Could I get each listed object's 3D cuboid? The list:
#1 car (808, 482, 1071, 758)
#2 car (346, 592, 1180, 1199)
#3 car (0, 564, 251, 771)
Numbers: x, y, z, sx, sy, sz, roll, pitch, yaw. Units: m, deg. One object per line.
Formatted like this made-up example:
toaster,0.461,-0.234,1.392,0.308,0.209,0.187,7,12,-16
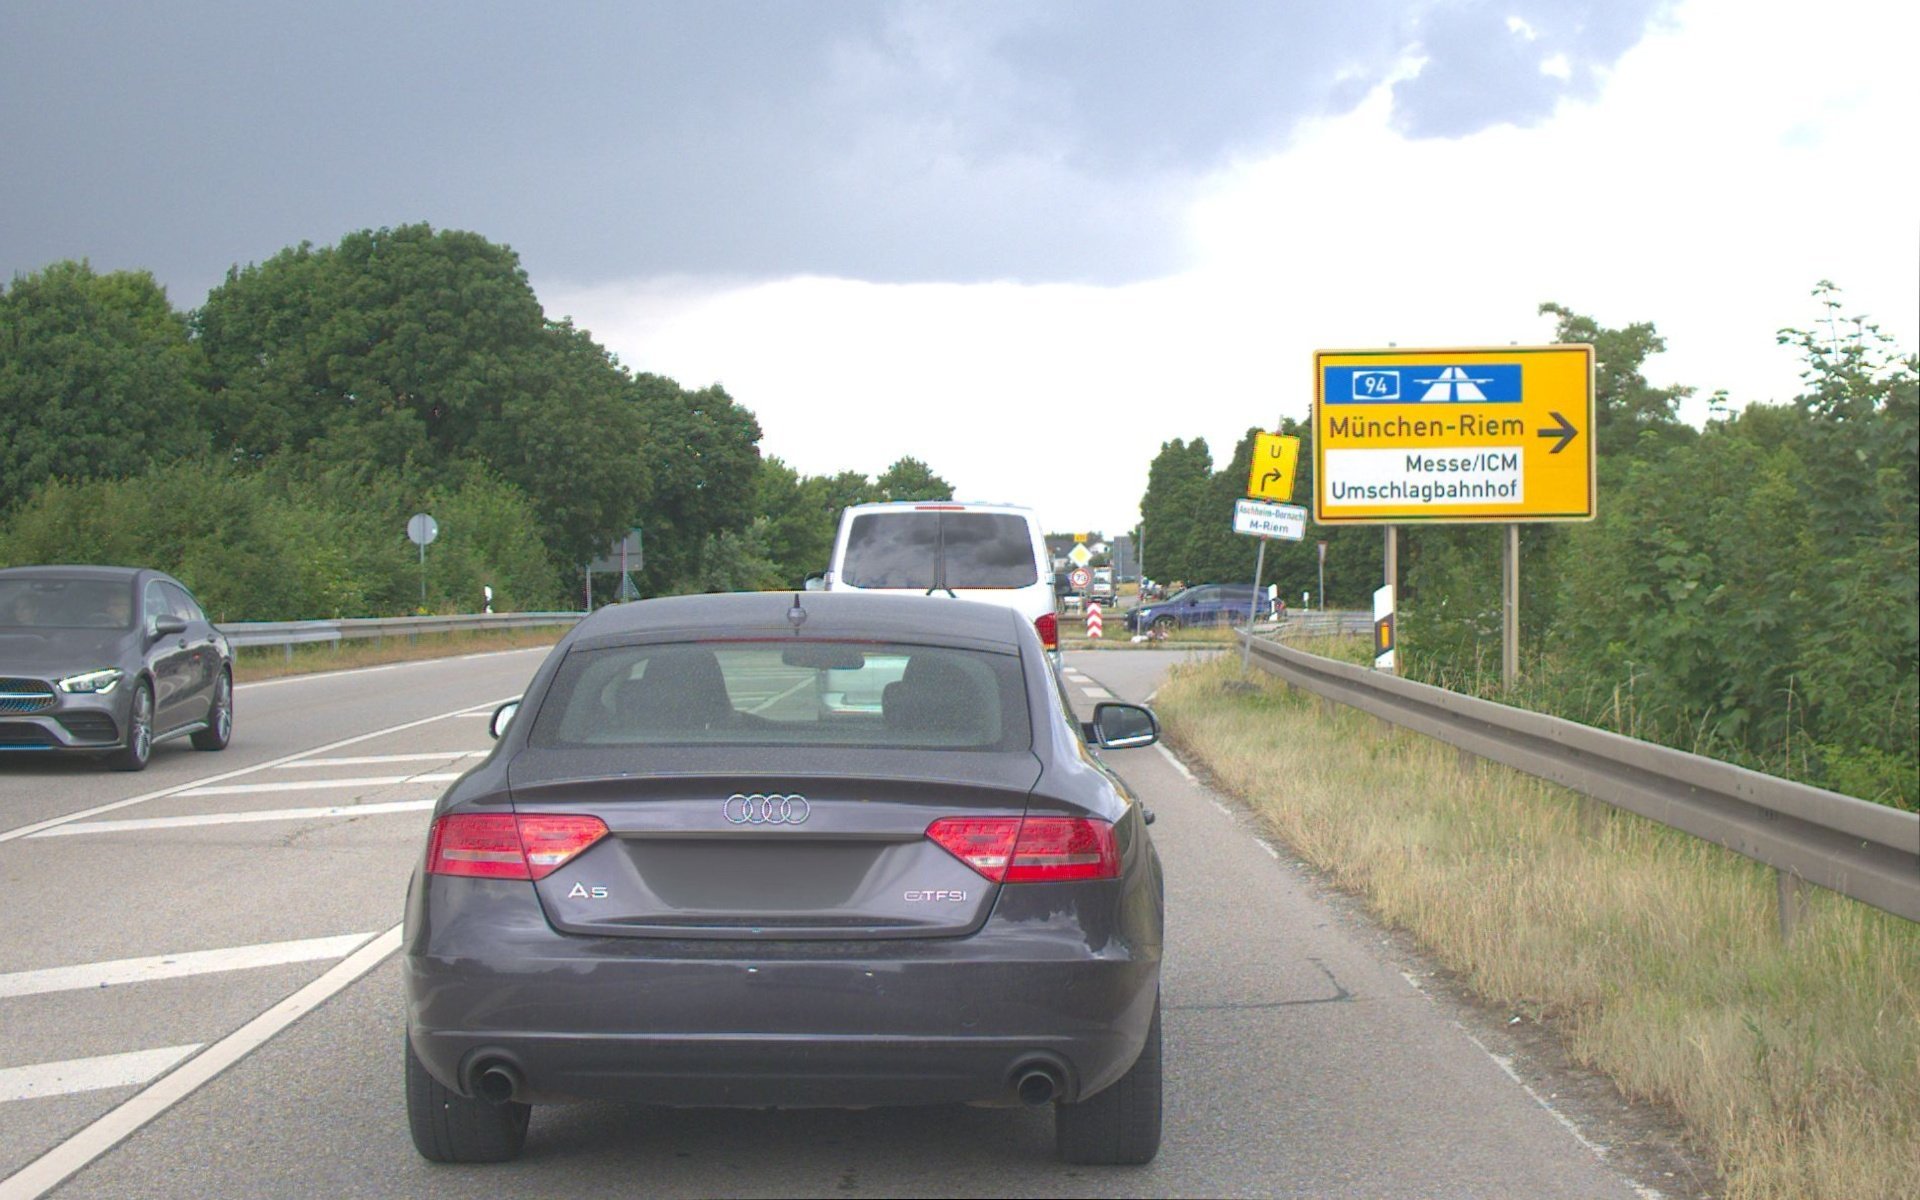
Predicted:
car,-0.164,0.123,27.292,1.910,2.007,4.000,1,1,0
car,-0.441,0.688,9.038,1.779,1.394,3.336,0,0,-1
car,-6.487,0.429,25.327,1.622,1.375,4.512,0,1,0
